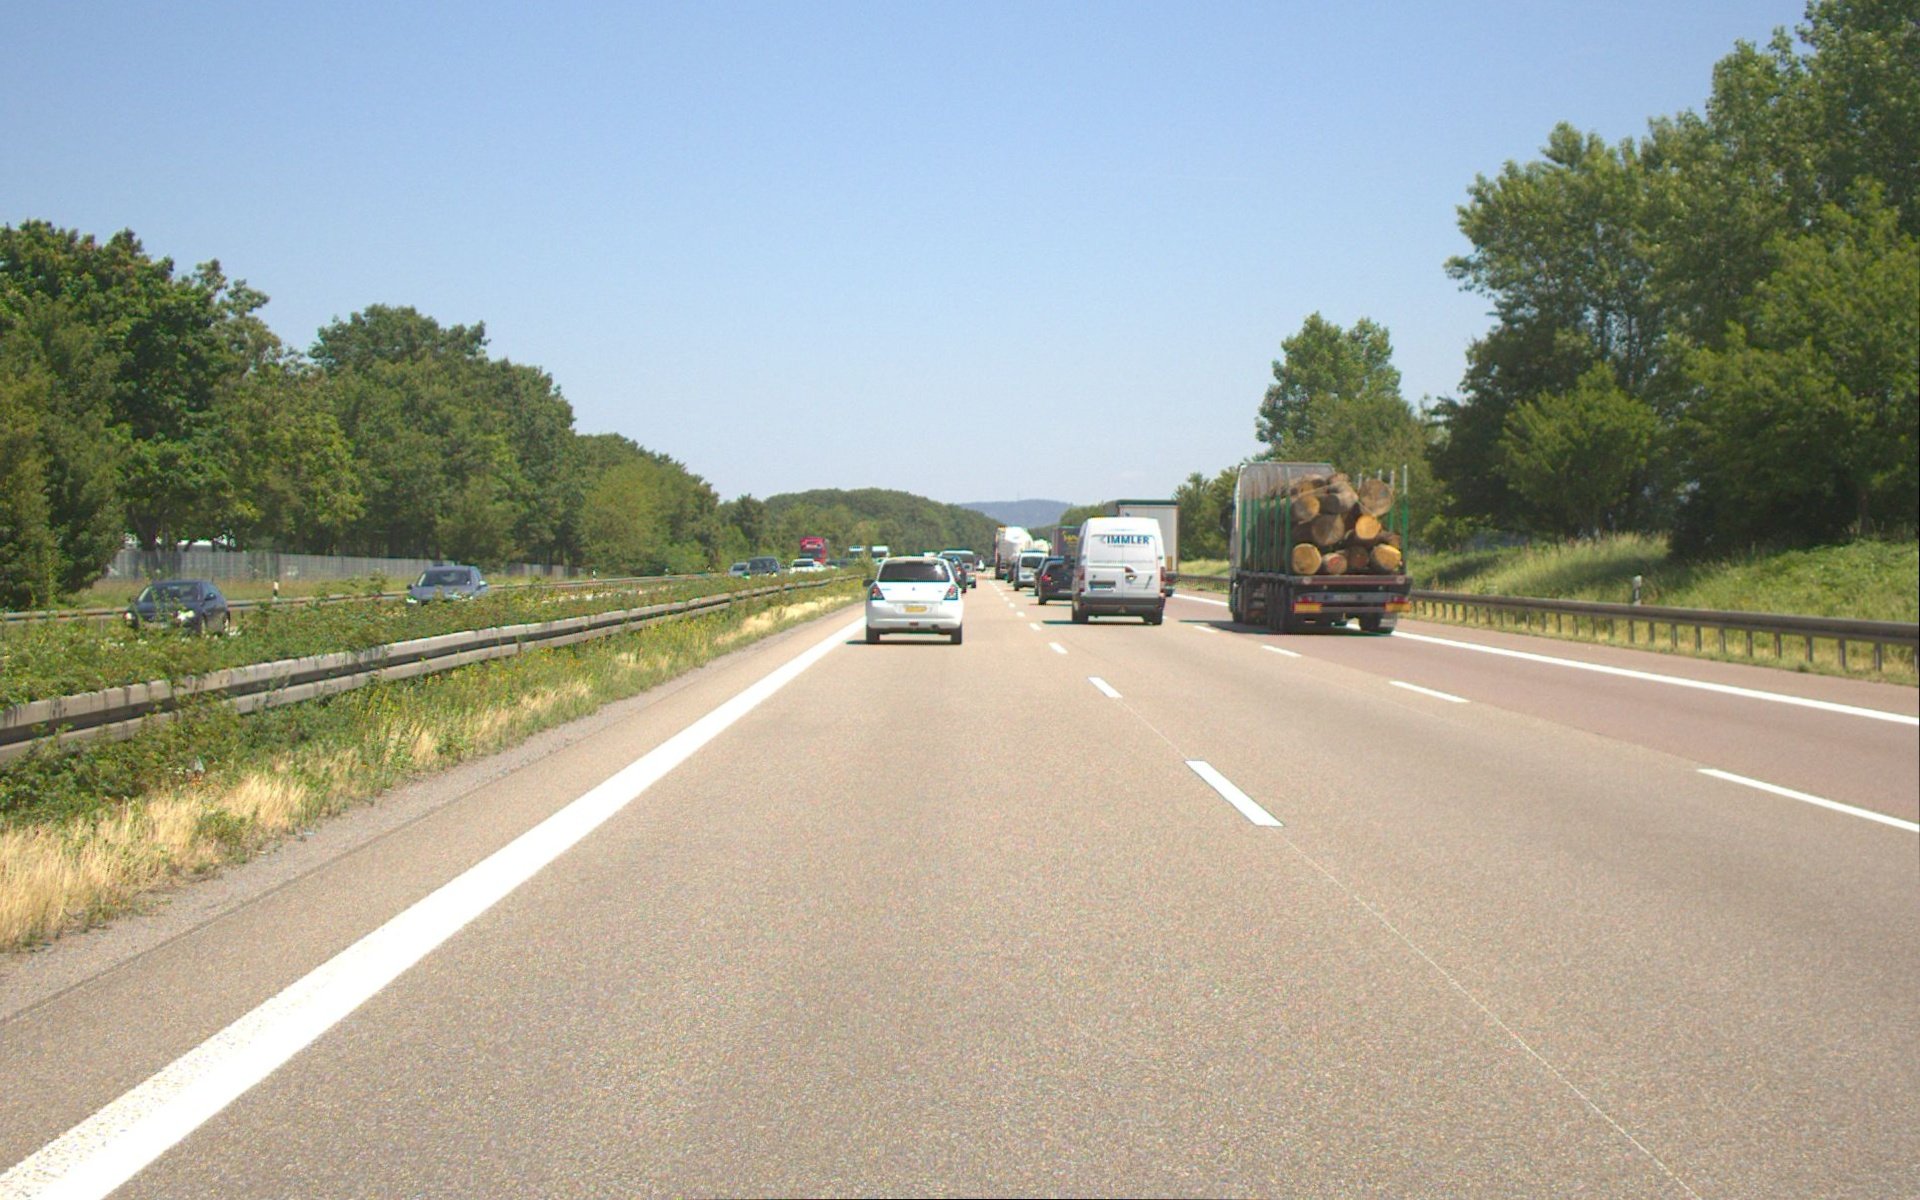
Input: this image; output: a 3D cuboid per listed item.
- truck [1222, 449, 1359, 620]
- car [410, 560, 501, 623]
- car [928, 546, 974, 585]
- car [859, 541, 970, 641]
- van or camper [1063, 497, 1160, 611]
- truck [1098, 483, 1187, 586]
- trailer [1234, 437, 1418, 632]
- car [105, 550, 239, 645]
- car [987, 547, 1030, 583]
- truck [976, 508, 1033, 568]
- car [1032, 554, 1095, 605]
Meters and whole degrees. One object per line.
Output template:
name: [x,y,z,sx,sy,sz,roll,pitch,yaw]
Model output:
truck: [8.044,-1.598,84.302,2.670,3.981,6.636,1,1,0]
car: [-13.144,-0.243,89.733,1.792,1.573,4.212,-1,1,-1]
car: [-0.399,-1.504,148.831,1.857,1.646,4.000,1,1,-1]
car: [-0.825,-0.176,60.719,1.857,1.646,4.000,2,1,-1]
van or camper: [3.577,-1.091,82.201,2.058,2.613,5.985,1,1,0]
truck: [7.883,-2.795,150.485,3.079,4.194,16.843,2,1,1]
trailer: [8.010,-1.431,76.993,2.653,3.945,13.637,1,1,0]
car: [-17.656,-0.079,77.232,1.993,2.007,4.272,2,1,0]
car: [2.261,-1.639,162.640,1.857,1.646,4.000,1,1,-1]
truck: [3.270,-4.600,257.566,3.257,4.194,16.845,2,1,-2]
car: [3.432,-0.691,114.860,1.857,1.646,4.000,1,1,-1]
